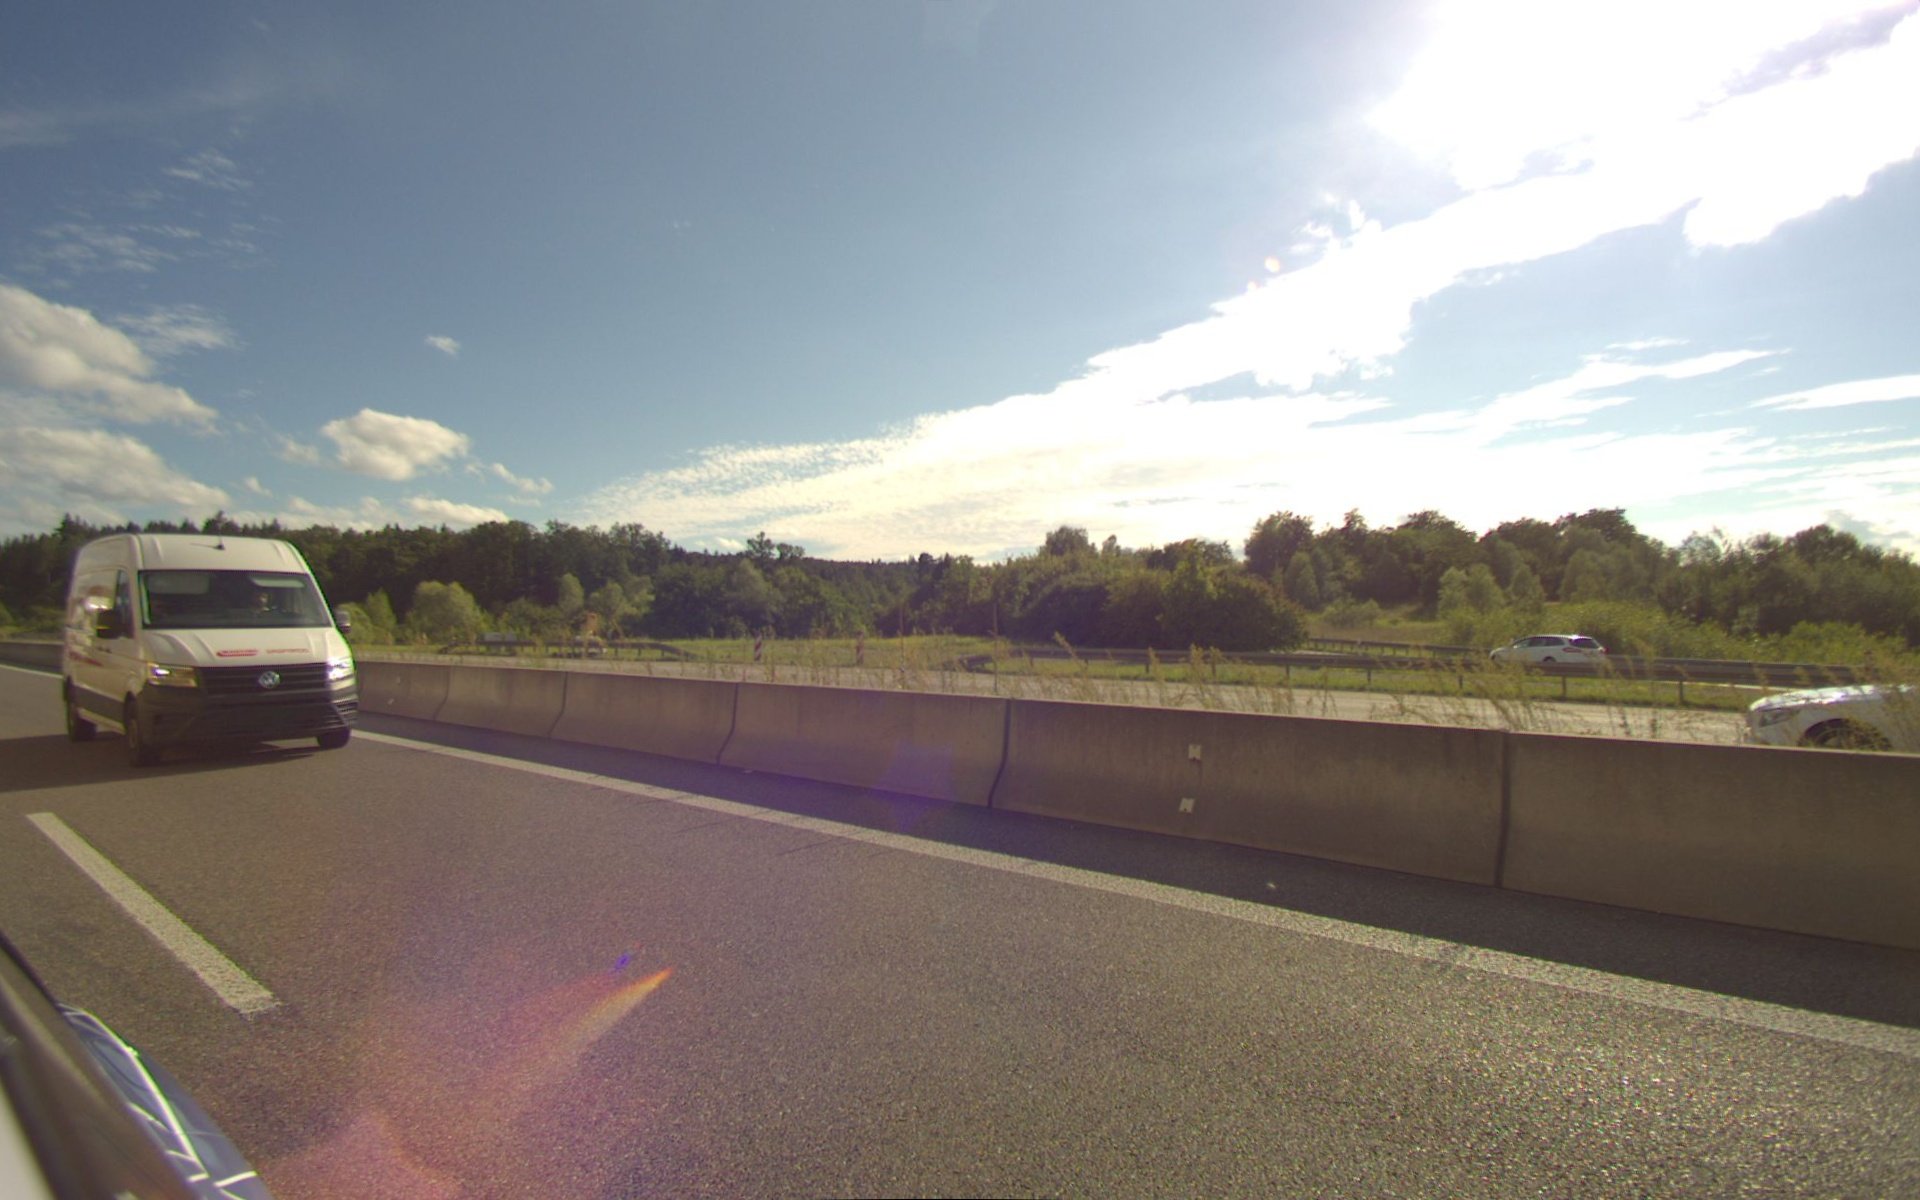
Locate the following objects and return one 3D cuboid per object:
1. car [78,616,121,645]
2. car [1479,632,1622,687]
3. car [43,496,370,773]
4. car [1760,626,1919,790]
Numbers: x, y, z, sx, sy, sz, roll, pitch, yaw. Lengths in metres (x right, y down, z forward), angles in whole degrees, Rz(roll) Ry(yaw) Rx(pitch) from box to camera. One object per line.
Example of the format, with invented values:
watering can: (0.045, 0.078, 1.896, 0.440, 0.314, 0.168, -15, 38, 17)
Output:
car: (-82.011, 2.874, 96.369, 7.318, 2.598, 2.012, -1, 0, 41)
car: (22.844, 2.239, 39.432, 1.967, 1.813, 4.988, -1, 0, -11)
car: (-9.430, 0.420, 12.387, 6.179, 2.619, 1.994, -2, -2, 42)
car: (10.646, 1.019, 9.418, 4.931, 1.488, 1.898, -1, 0, 41)
